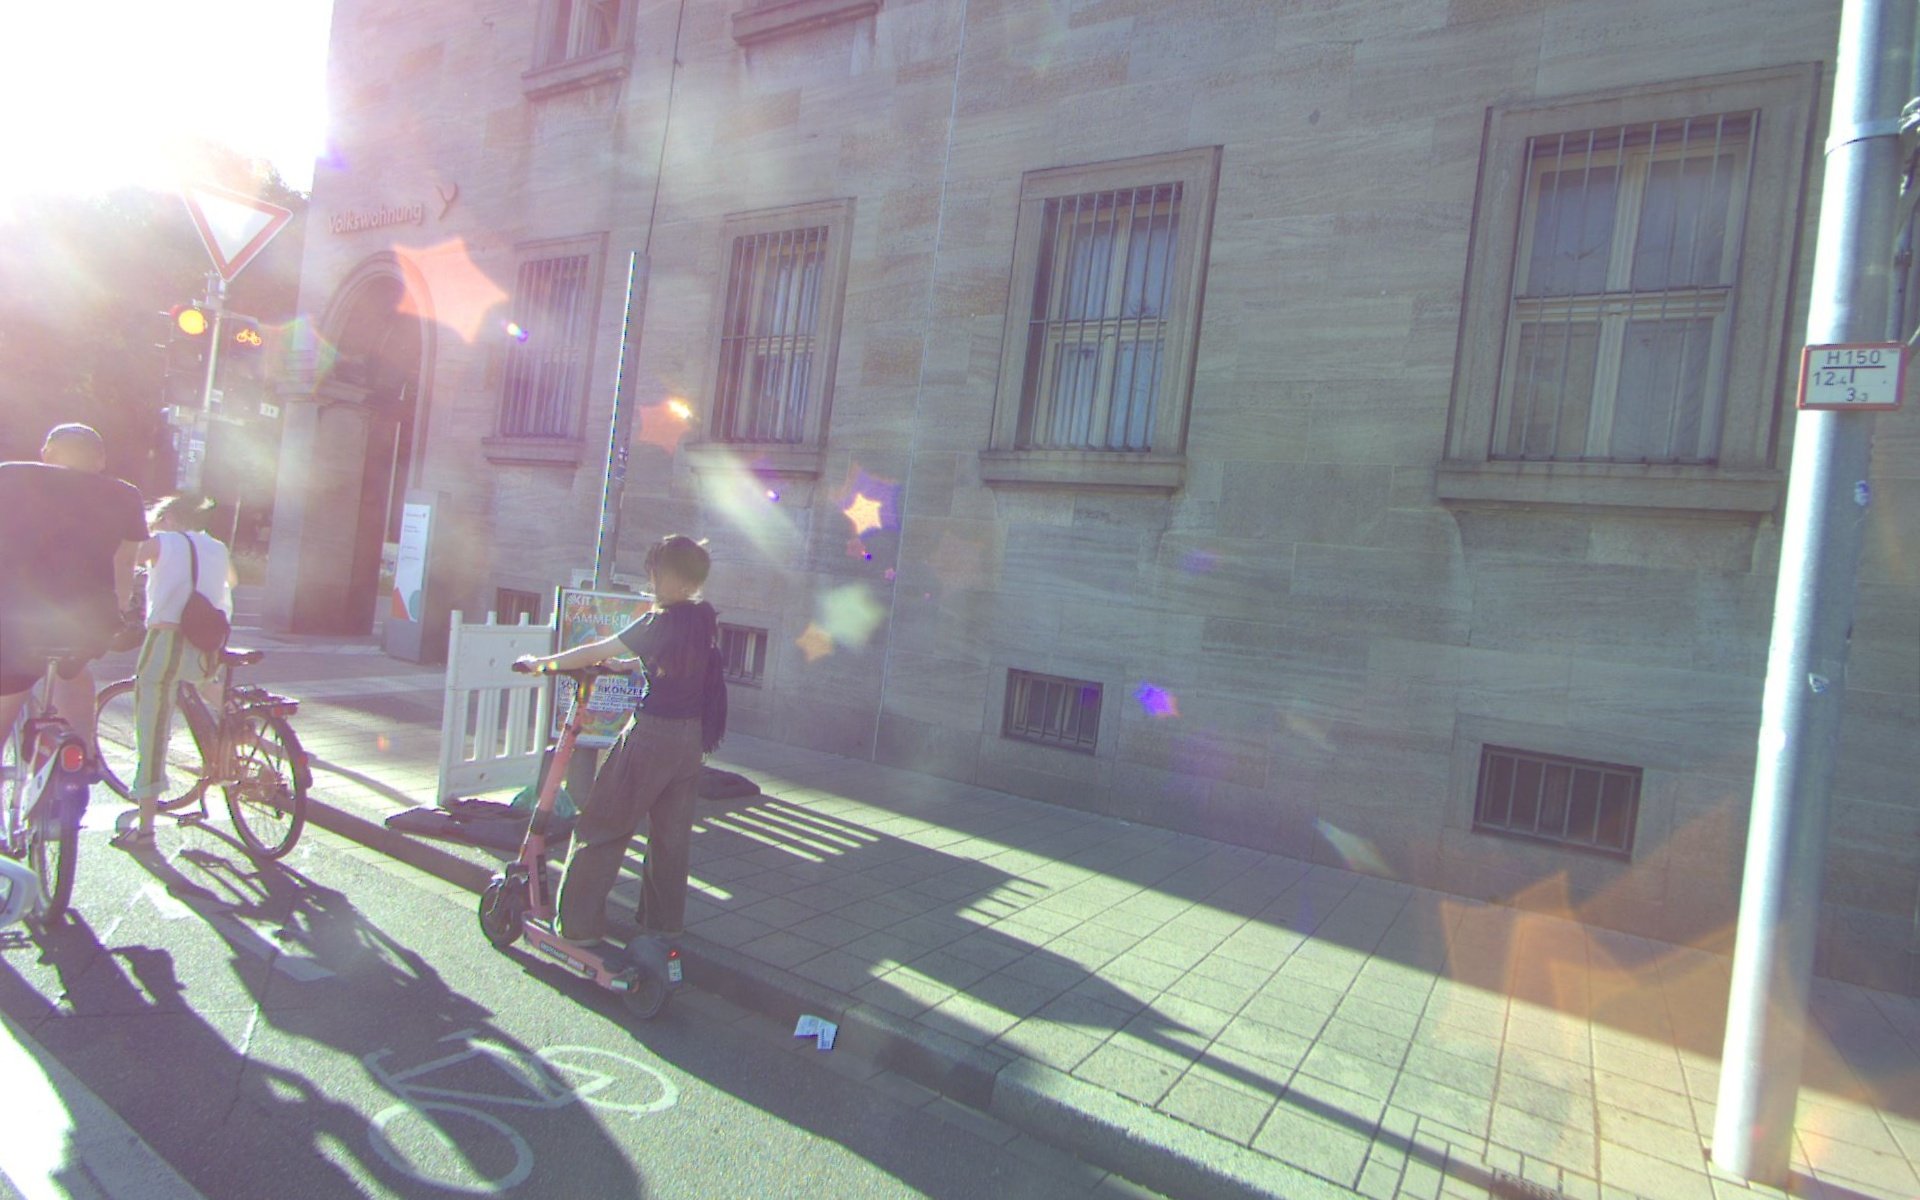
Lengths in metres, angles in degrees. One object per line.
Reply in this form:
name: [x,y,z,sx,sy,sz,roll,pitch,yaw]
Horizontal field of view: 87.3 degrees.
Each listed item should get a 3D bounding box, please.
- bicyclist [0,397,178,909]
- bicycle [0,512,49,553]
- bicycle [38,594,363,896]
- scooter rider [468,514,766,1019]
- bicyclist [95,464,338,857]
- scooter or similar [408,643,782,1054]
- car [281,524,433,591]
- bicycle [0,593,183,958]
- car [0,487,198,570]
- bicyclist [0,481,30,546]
bicyclist: [-3.551,0.196,3.850,0.541,1.820,0.559,7,-1,33]
bicycle: [-26.191,-1.893,27.572,0.525,0.975,1.666,7,-1,37]
bicycle: [-3.684,0.625,4.838,1.721,1.090,0.535,7,-1,31]
scooter rider: [-1.291,0.581,3.857,0.547,1.691,0.730,7,0,32]
bicyclist: [-3.538,0.269,4.800,0.629,1.711,0.558,7,-1,30]
scooter or similar: [-1.424,0.852,3.865,1.305,1.199,0.535,7,0,31]
car: [-19.692,-1.359,33.019,1.623,1.630,3.854,7,-1,31]
bicycle: [-3.740,0.577,3.920,1.700,1.090,0.516,7,-1,34]
car: [-23.373,-1.890,27.193,1.623,1.630,3.999,7,-1,31]
bicyclist: [-26.093,-2.383,27.614,0.499,1.704,0.643,7,0,37]
